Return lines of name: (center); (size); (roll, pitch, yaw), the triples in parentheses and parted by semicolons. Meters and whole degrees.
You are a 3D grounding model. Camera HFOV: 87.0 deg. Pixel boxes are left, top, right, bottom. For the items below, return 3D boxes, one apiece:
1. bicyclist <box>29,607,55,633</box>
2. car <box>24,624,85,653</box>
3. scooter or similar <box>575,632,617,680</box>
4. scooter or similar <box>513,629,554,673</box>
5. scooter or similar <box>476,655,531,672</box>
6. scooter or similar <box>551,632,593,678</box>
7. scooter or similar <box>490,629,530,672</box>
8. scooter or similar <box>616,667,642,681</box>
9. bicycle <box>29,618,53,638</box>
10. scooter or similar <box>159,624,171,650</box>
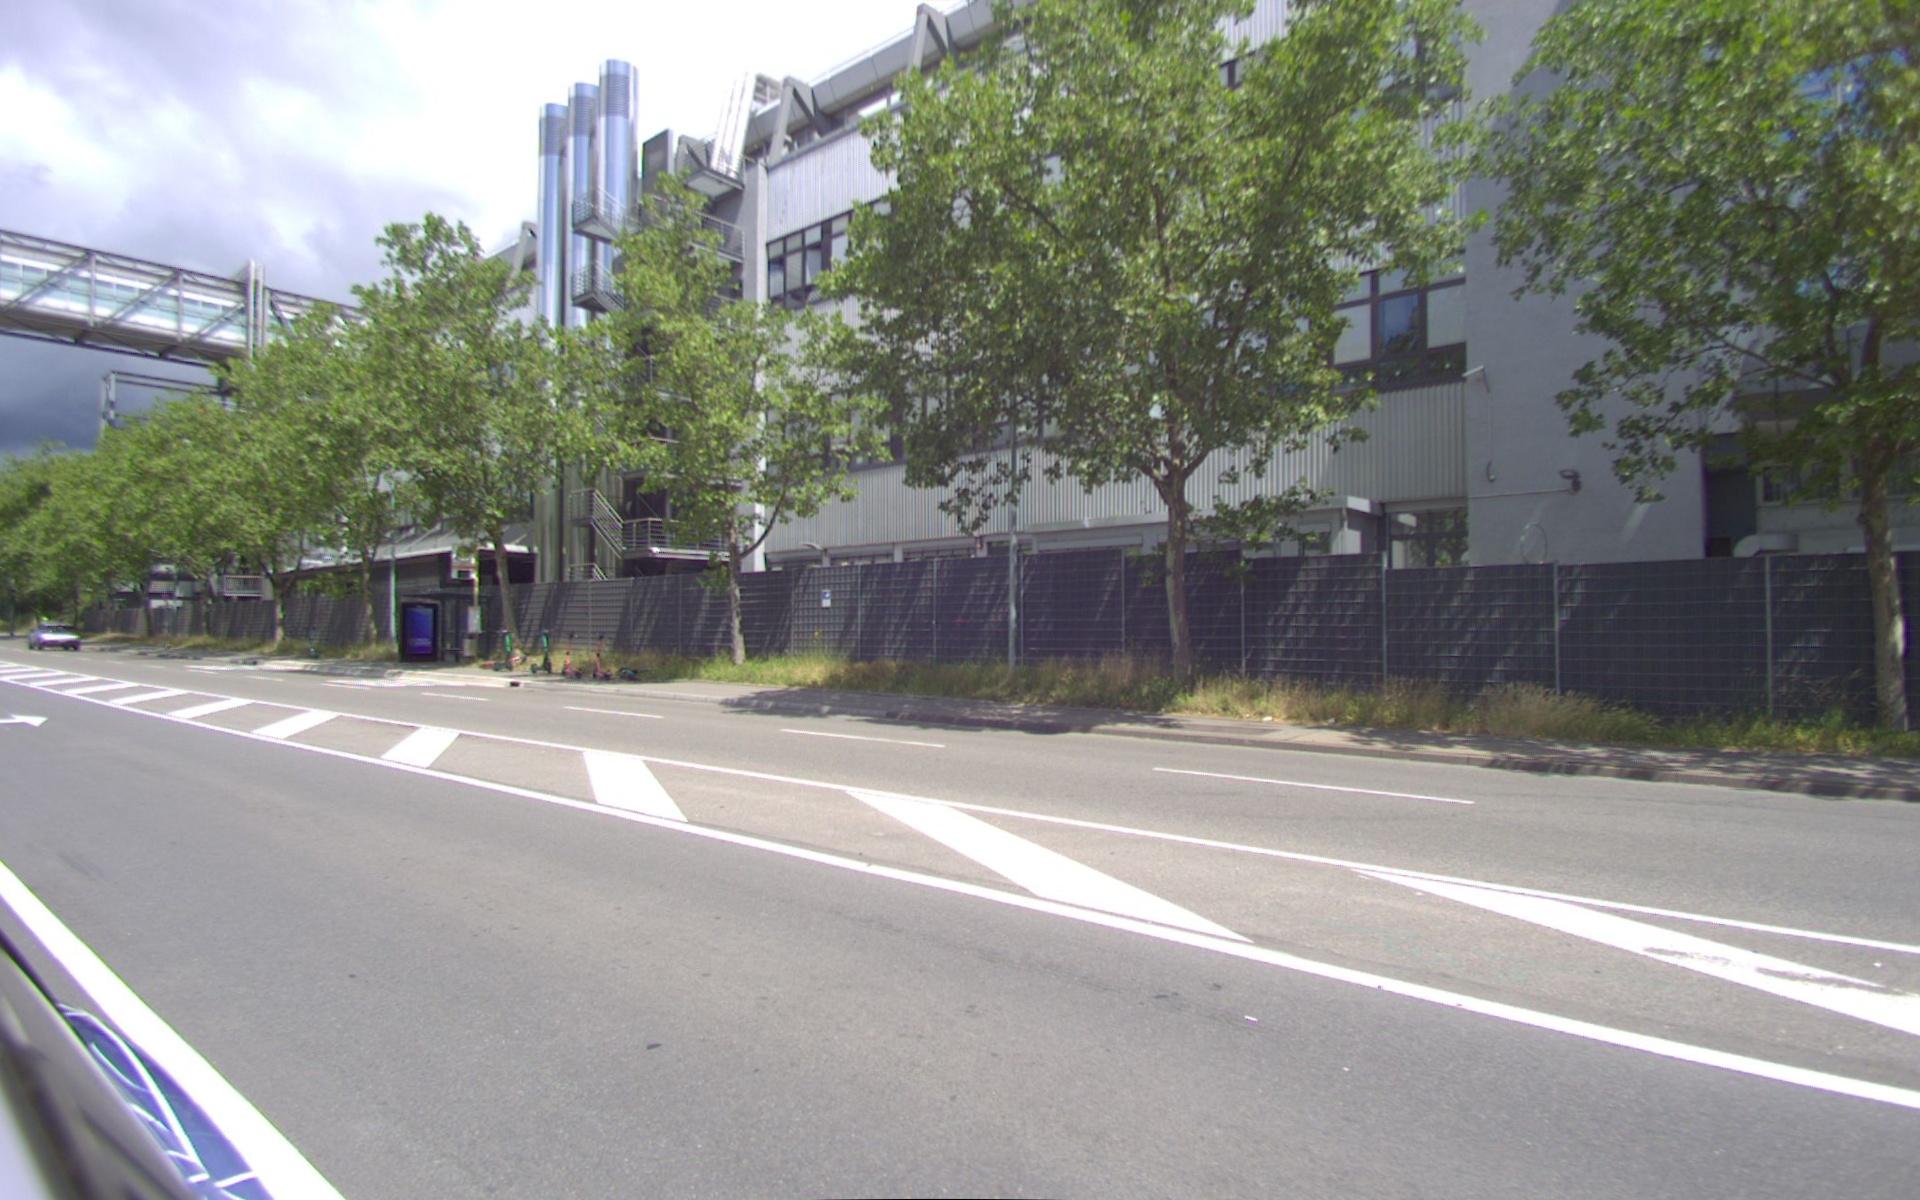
bicyclist: (-59.327, 1.290, 65.419); (1.221, 1.610, 0.947); (0, -4, 37)
car: (-50.653, 2.139, 56.592); (4.187, 1.517, 1.859); (-2, -4, 40)
scooter or similar: (-9.837, 1.490, 27.324); (0.517, 1.244, 1.319); (-3, 0, -44)
scooter or similar: (-12.517, 1.495, 29.711); (1.316, 1.244, 0.518); (-2, 0, 40)
scooter or similar: (-14.453, 2.000, 32.085); (1.341, 0.383, 1.494); (-3, 1, -15)
scooter or similar: (-10.849, 1.525, 28.264); (1.317, 1.244, 0.517); (-2, 0, 42)
scooter or similar: (-13.663, 1.537, 30.718); (1.316, 1.244, 0.518); (-2, 0, 40)
scooter or similar: (-8.899, 1.978, 27.187); (0.529, 0.325, 1.276); (0, -2, -25)
bicycle: (-59.528, 1.783, 65.536); (2.470, 1.244, 0.729); (0, -3, 38)
scooter or similar: (-43.412, 2.022, 55.262); (1.234, 1.414, 0.300); (0, 0, 40)
